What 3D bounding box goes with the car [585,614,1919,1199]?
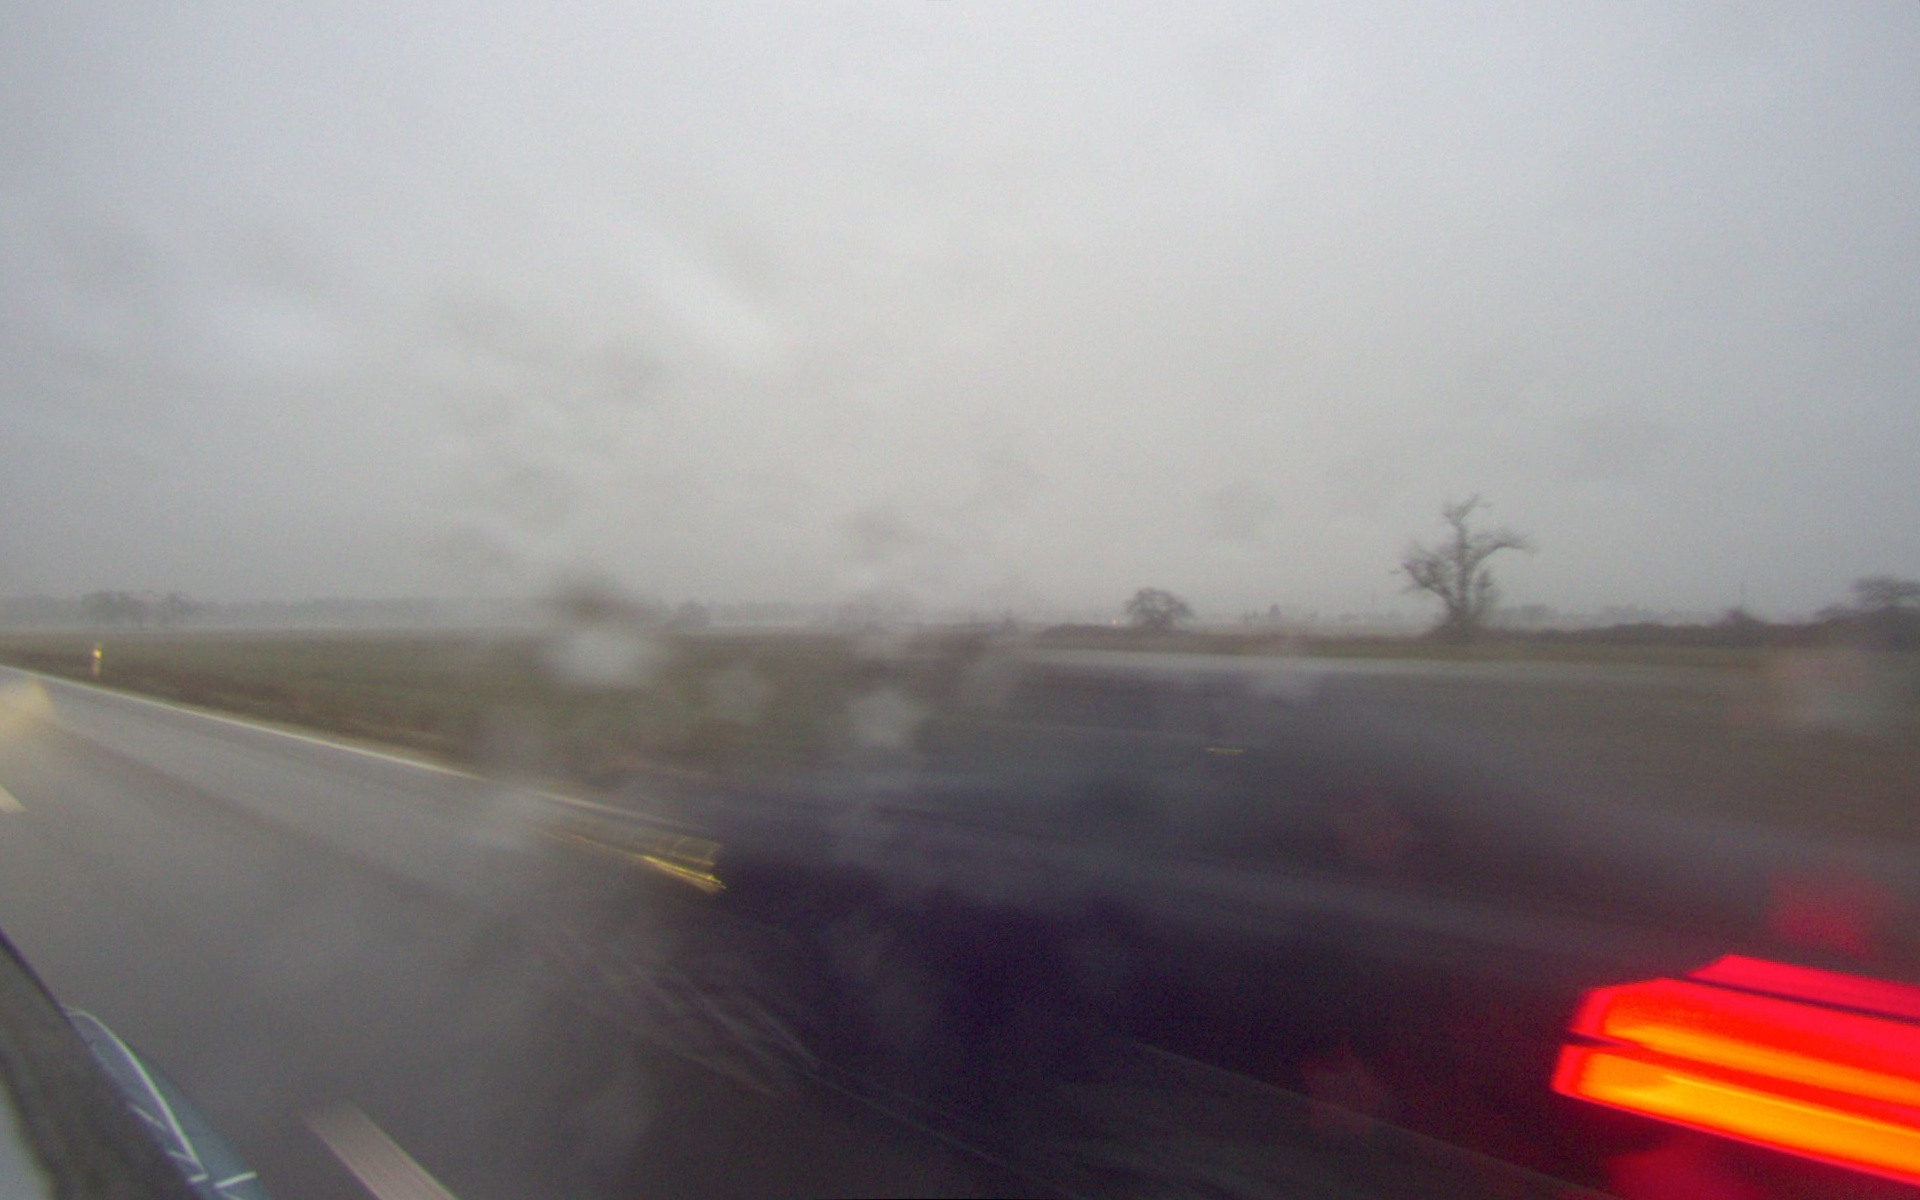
[{"bbox_3d":[0.979,0.743,2.842,4.396,1.382,1.973,-1,-1,41],"label":"car"}]
